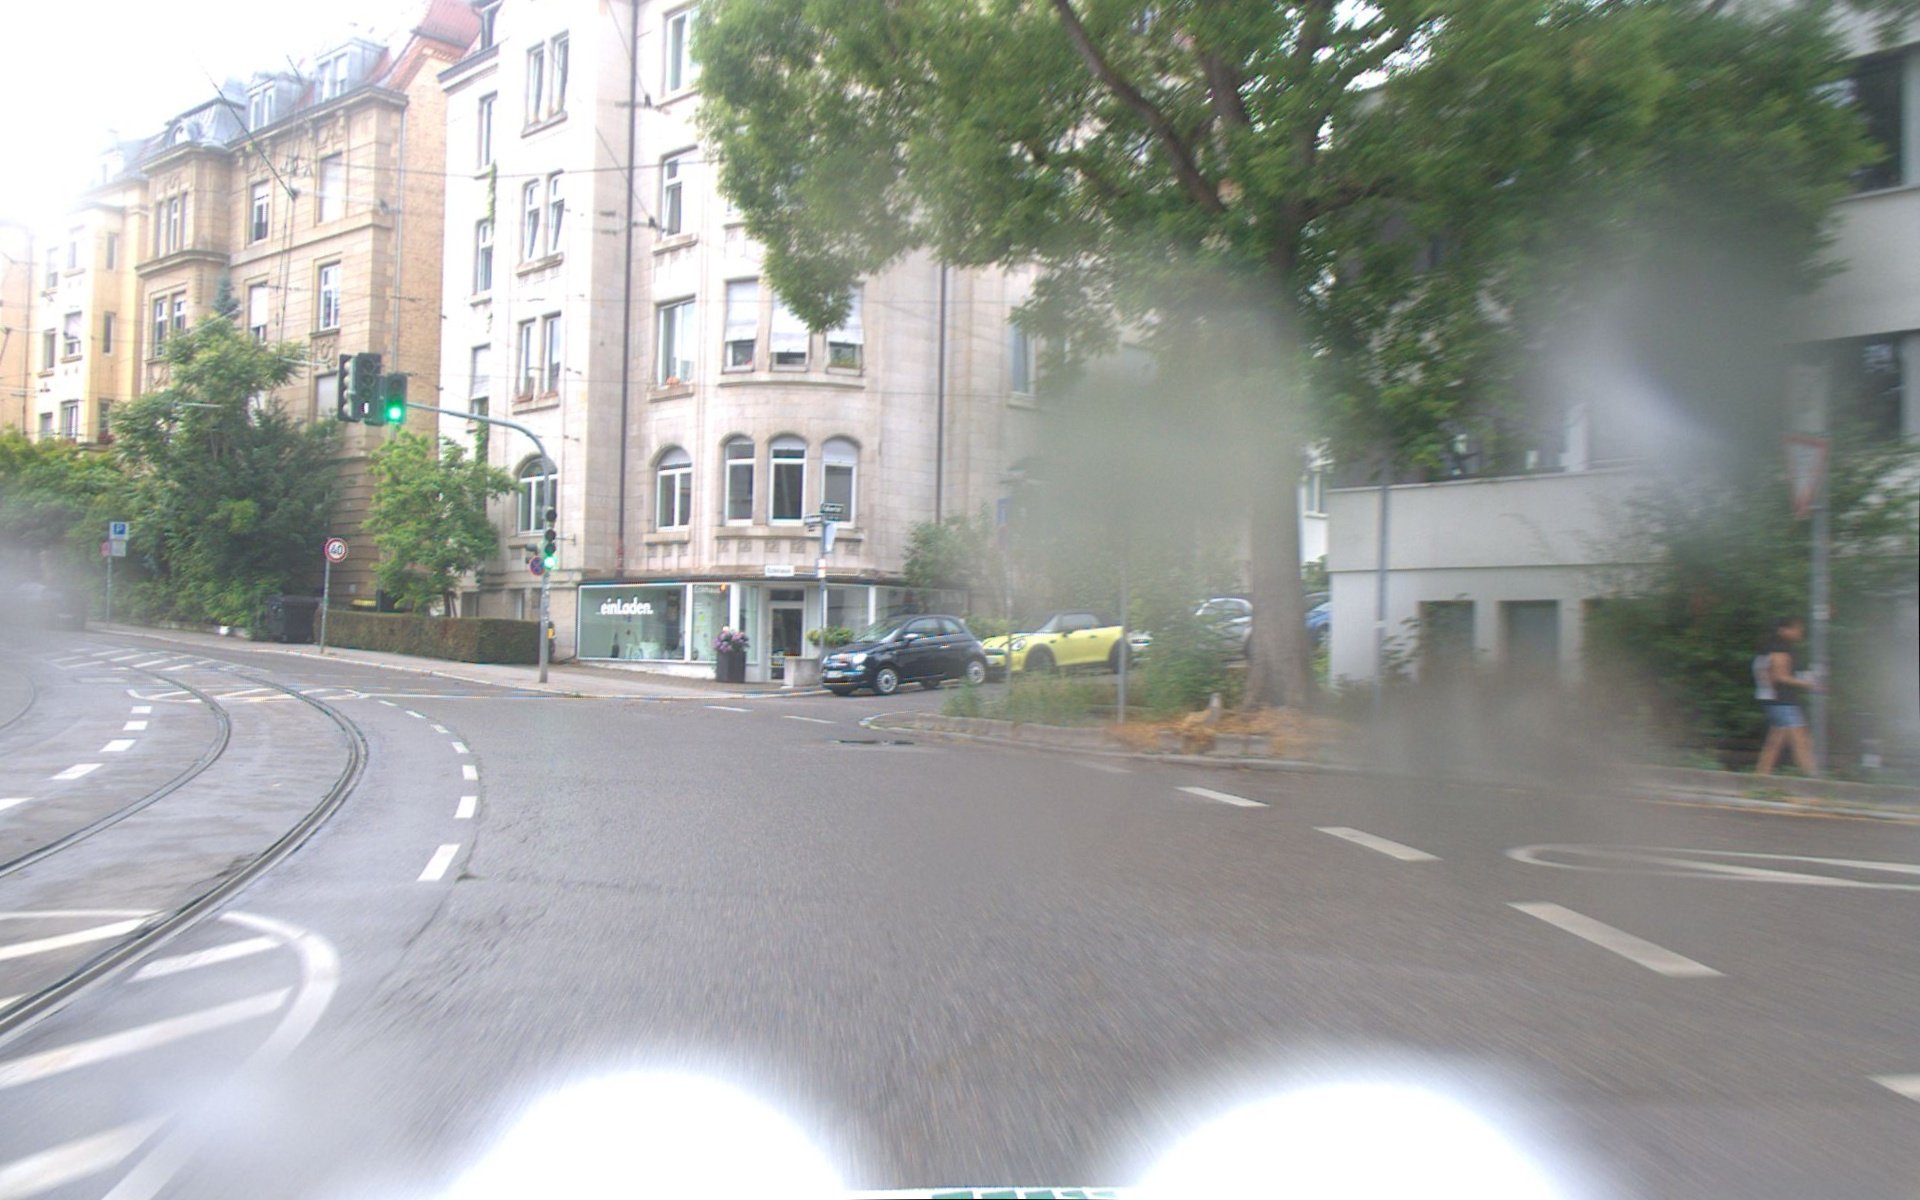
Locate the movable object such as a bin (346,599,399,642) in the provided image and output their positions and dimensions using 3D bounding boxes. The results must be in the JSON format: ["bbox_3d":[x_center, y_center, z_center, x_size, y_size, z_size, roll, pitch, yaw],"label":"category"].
[{"bbox_3d":[-19.102,0.660,53.783,1.147,1.331,1.214,1,0,42],"label":"movable object such as a bin"}]

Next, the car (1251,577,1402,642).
[{"bbox_3d":[9.262,0.274,41.679,3.855,1.534,1.602,1,-3,-37],"label":"car"}]

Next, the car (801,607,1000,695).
[{"bbox_3d":[-1.146,0.950,32.560,3.635,1.534,1.713,-2,1,-39],"label":"car"}]

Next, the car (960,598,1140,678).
[{"bbox_3d":[1.946,0.772,35.312,3.635,1.534,1.713,-2,1,-39],"label":"car"}]

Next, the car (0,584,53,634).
[{"bbox_3d":[-33.447,0.289,57.523,4.205,1.631,1.764,2,0,38],"label":"car"}]

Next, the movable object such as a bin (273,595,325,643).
[{"bbox_3d":[-20.601,0.591,51.548,0.806,1.427,1.225,3,2,34],"label":"movable object such as a bin"}]

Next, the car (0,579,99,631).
[{"bbox_3d":[-29.983,0.139,54.226,3.929,1.415,1.761,4,-1,42],"label":"car"}]

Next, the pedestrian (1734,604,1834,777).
[{"bbox_3d":[7.883,0.851,15.837,0.588,1.593,0.545,2,1,-7],"label":"pedestrian"}]

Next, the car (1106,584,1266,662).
[{"bbox_3d":[5.253,0.515,38.195,3.744,1.534,1.598,-4,-1,-44],"label":"car"}]

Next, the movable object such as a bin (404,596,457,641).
[{"bbox_3d":[-17.715,0.612,55.347,1.285,1.450,1.227,1,0,42],"label":"movable object such as a bin"}]
